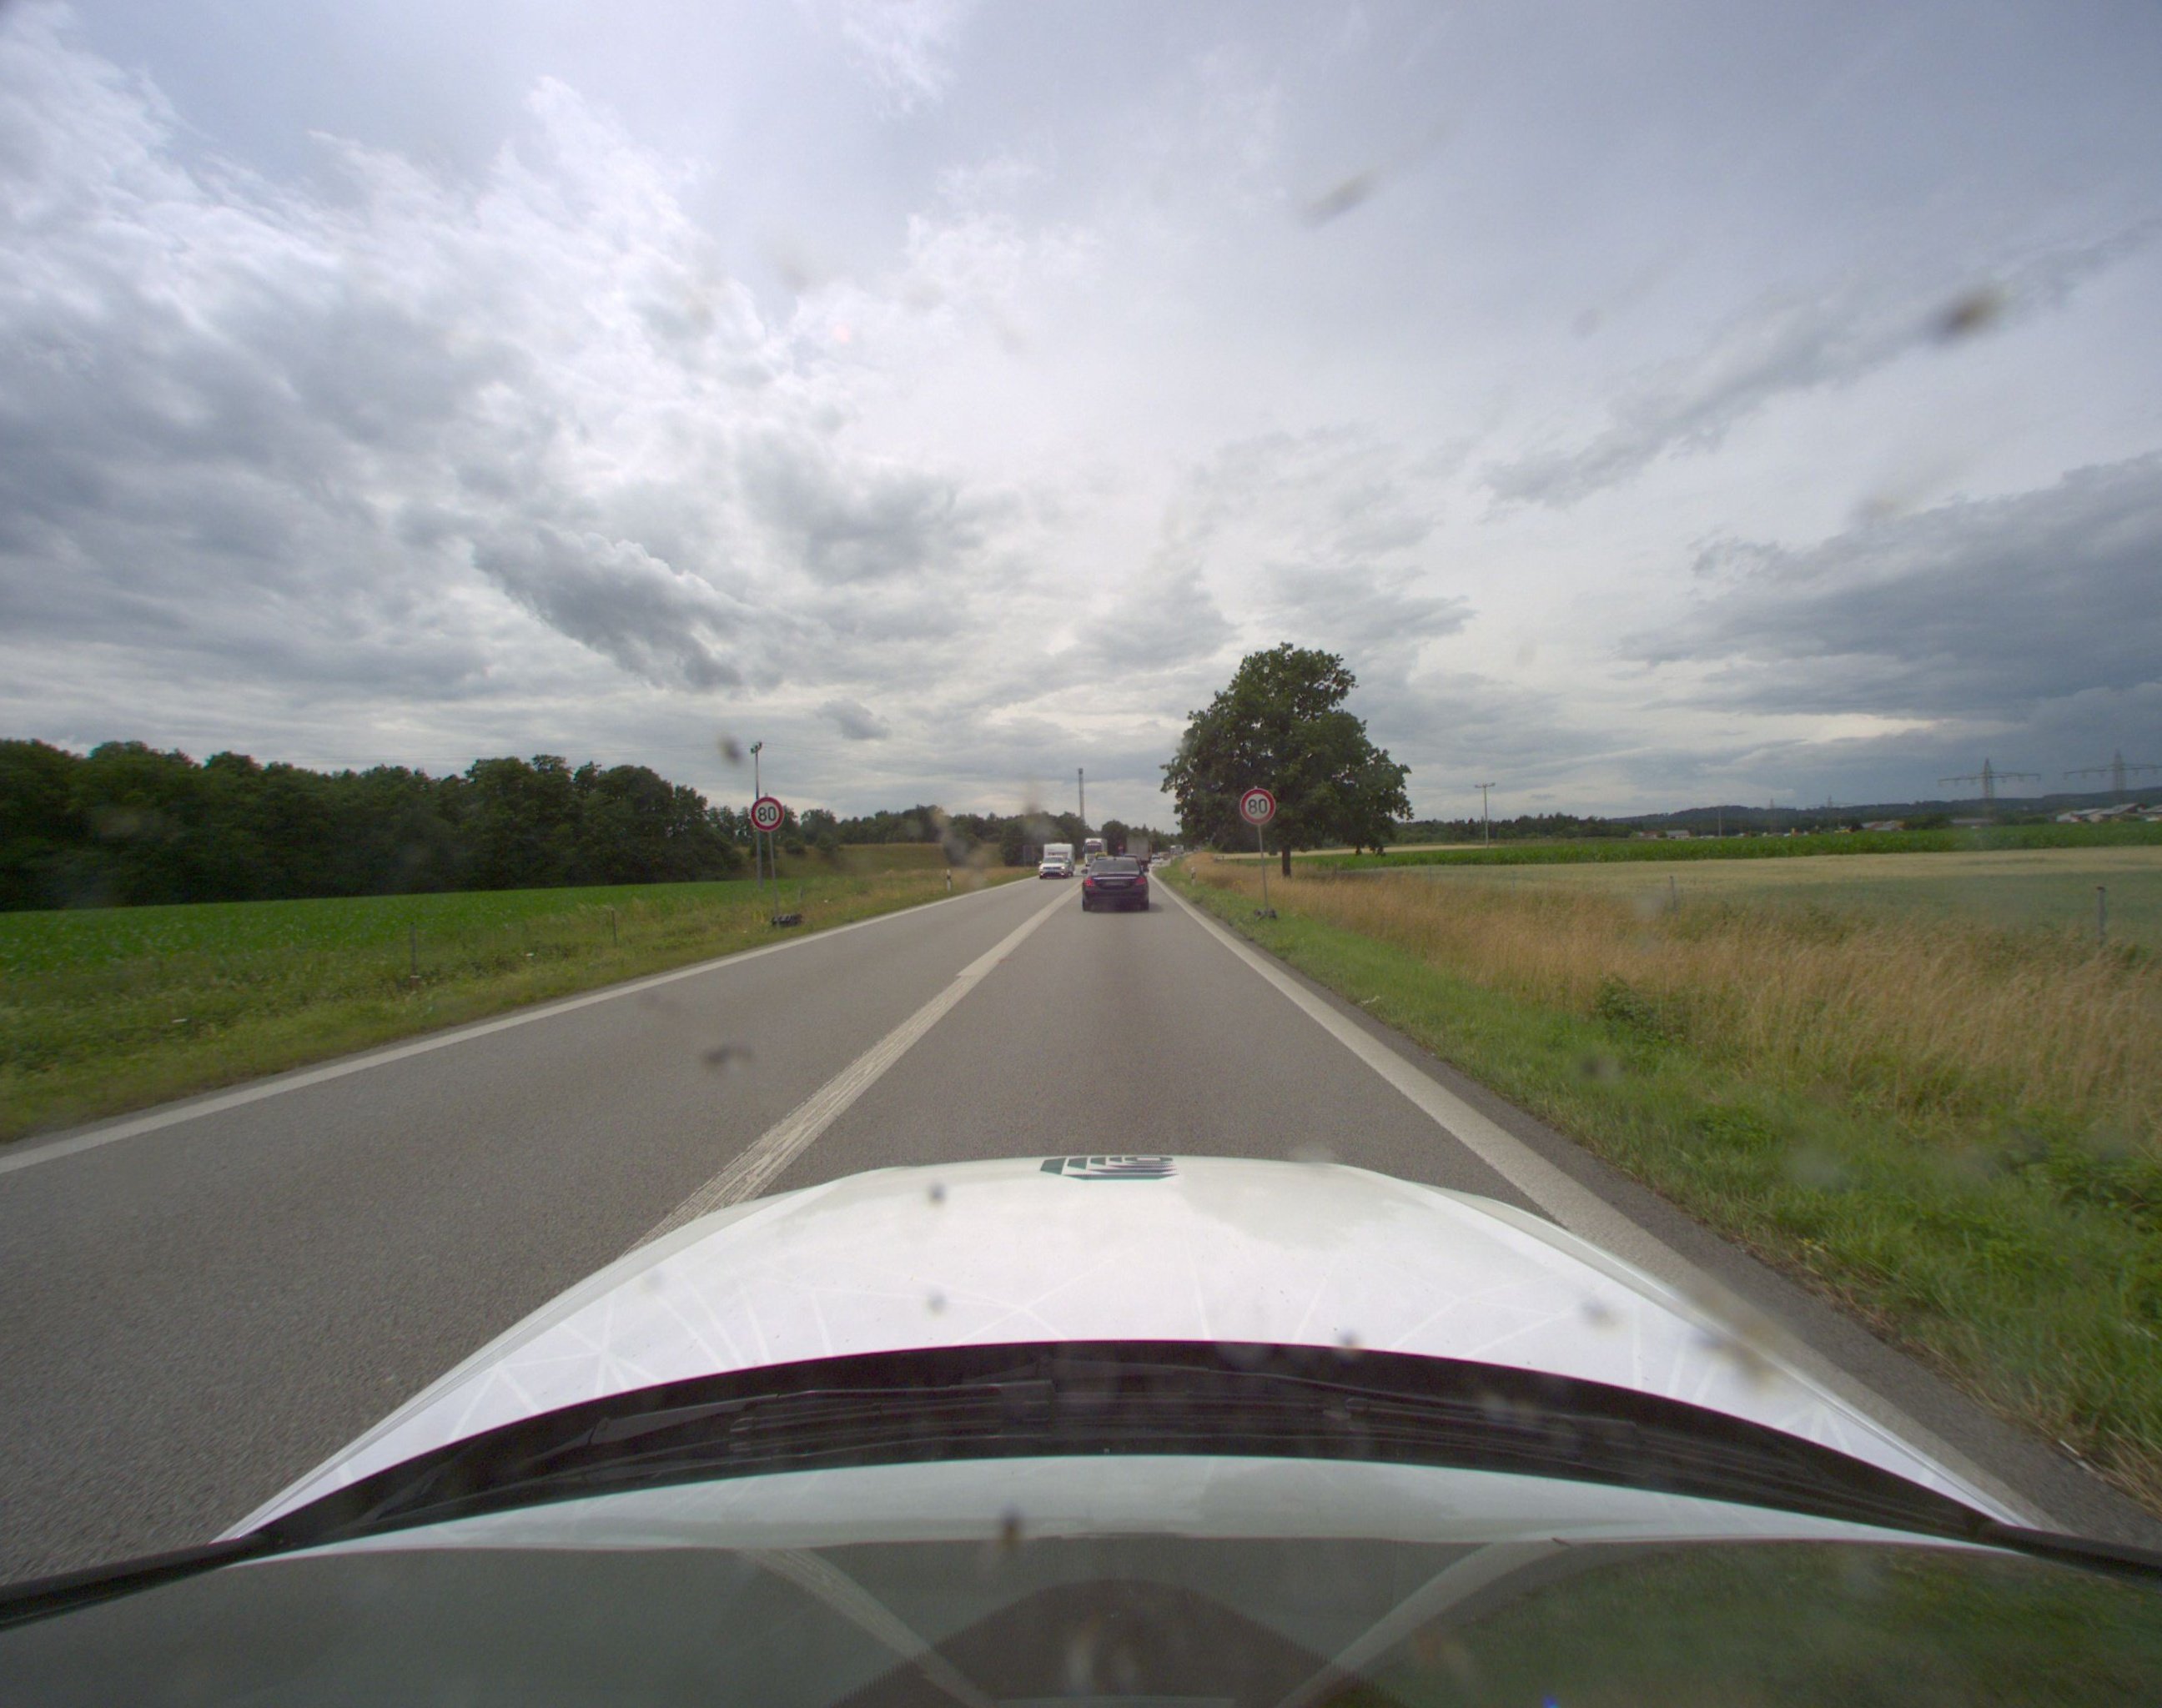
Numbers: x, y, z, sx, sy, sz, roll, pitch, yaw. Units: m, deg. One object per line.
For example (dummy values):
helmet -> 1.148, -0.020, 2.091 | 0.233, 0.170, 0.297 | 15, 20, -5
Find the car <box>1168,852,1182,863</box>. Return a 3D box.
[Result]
car -> 15.068, 0.533, 130.635 | 1.790, 1.662, 3.998 | 0, -1, -1

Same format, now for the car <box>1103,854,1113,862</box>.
car -> 5.296, 0.797, 158.736 | 1.849, 1.479, 5.203 | 0, -1, 4

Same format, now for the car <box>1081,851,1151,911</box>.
car -> 0.926, 0.728, 23.300 | 1.790, 1.560, 3.998 | 0, -1, -1

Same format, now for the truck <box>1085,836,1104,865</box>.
truck -> 1.985, -0.462, 117.061 | 2.479, 3.995, 5.209 | -1, 0, 4

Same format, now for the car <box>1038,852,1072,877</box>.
car -> -1.774, 0.709, 56.642 | 1.998, 1.657, 4.329 | 0, -1, 2

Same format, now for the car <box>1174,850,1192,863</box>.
car -> 12.748, 0.313, 102.141 | 1.790, 1.662, 3.998 | 0, -1, -1

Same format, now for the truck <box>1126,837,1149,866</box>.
truck -> 6.988, -0.286, 100.884 | 2.573, 3.524, 4.821 | 0, -1, 7

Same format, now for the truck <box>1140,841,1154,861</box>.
truck -> 11.521, -0.456, 143.079 | 1.988, 3.526, 4.590 | 0, -1, -1

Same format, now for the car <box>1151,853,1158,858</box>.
car -> 19.202, 0.432, 212.003 | 1.642, 1.396, 3.709 | 0, -1, 4

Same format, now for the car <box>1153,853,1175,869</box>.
car -> 8.505, 0.726, 83.254 | 1.790, 1.662, 3.998 | 0, -1, -1

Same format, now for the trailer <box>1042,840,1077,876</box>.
trailer -> -1.571, 0.306, 61.942 | 2.173, 2.575, 6.247 | 0, -1, 2

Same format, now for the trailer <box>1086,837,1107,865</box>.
trailer -> 2.416, -0.499, 123.295 | 2.479, 3.995, 13.089 | -1, 0, 4

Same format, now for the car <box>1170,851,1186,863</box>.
car -> 13.963, 0.473, 116.969 | 1.790, 1.662, 3.998 | 0, -1, -1

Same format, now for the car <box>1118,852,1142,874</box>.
car -> 4.528, 0.834, 75.947 | 1.988, 2.014, 3.998 | 0, -1, -1
